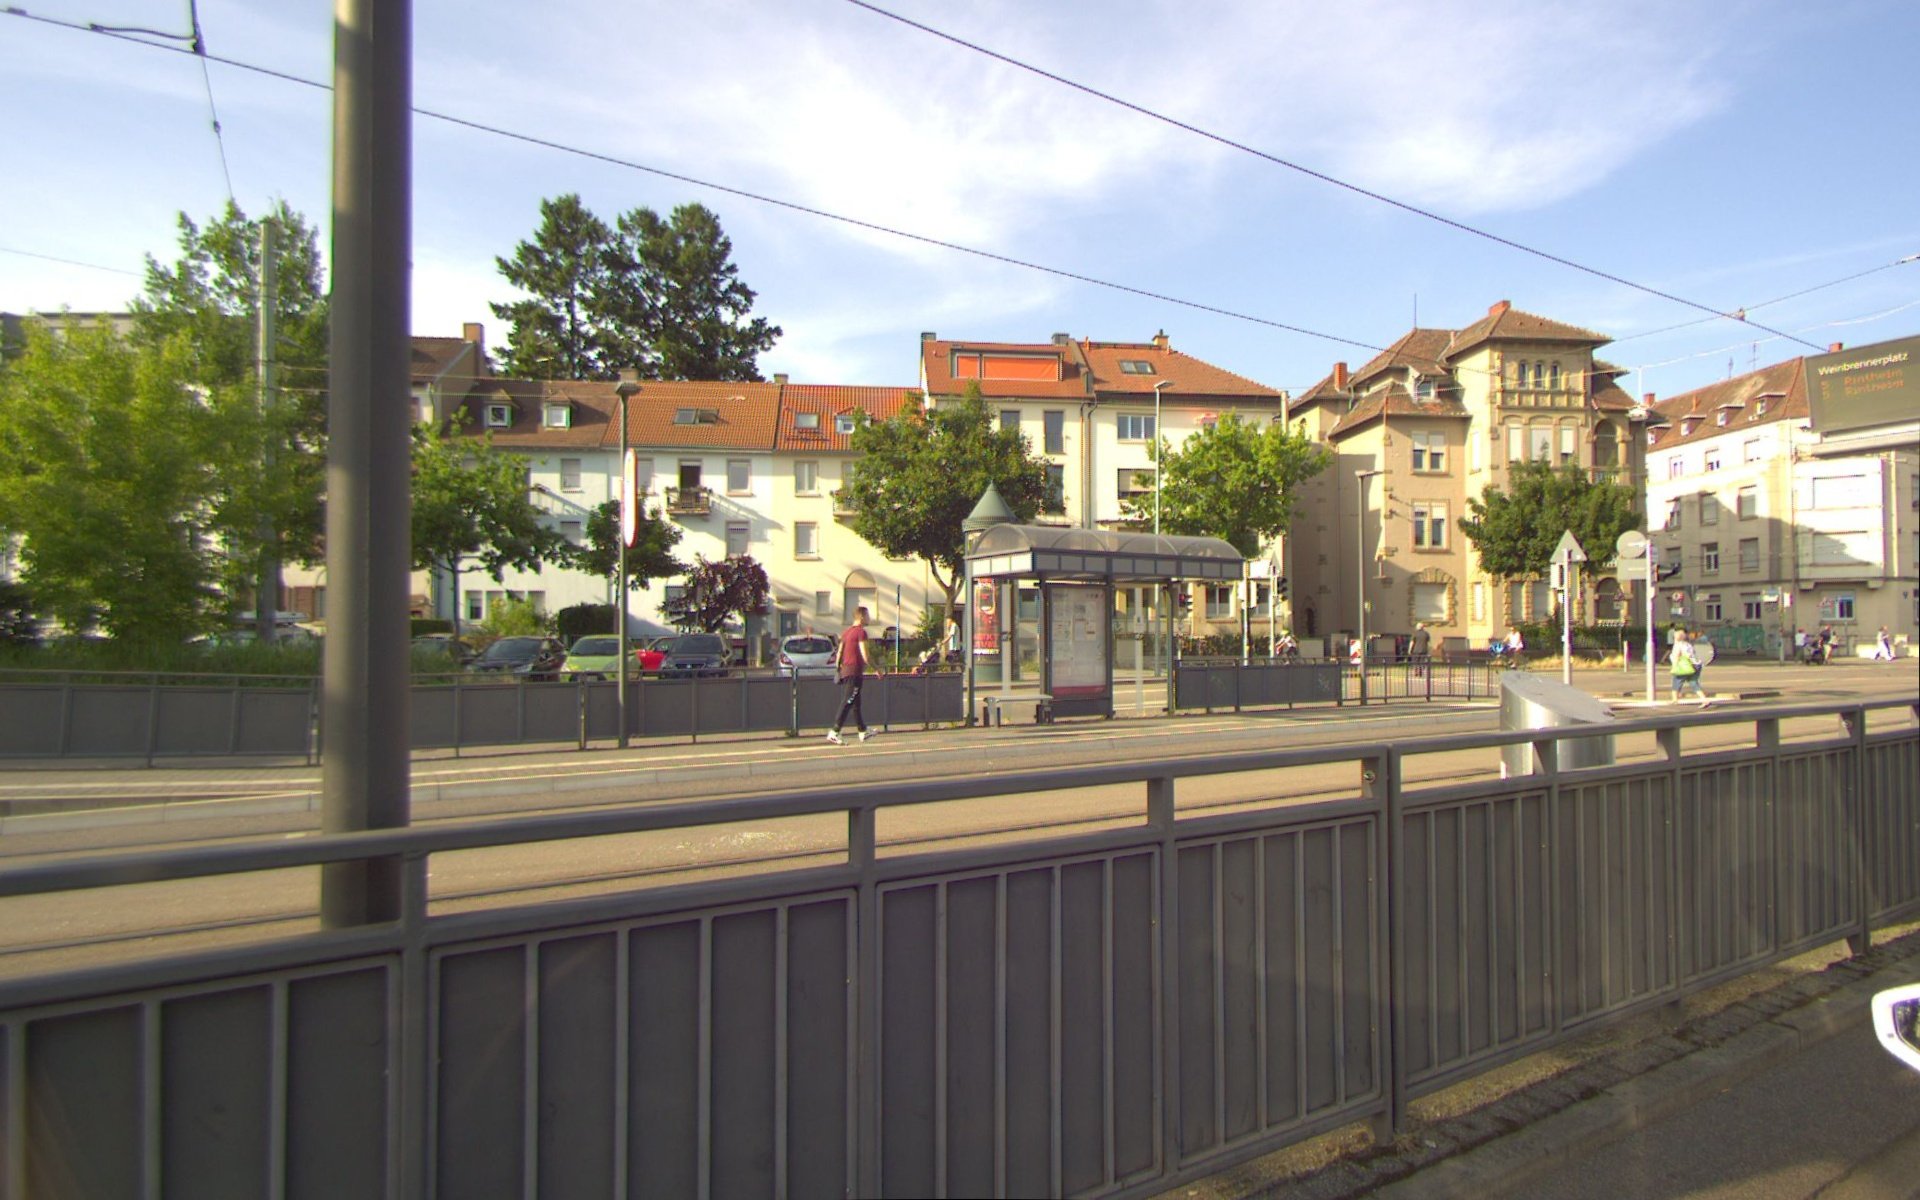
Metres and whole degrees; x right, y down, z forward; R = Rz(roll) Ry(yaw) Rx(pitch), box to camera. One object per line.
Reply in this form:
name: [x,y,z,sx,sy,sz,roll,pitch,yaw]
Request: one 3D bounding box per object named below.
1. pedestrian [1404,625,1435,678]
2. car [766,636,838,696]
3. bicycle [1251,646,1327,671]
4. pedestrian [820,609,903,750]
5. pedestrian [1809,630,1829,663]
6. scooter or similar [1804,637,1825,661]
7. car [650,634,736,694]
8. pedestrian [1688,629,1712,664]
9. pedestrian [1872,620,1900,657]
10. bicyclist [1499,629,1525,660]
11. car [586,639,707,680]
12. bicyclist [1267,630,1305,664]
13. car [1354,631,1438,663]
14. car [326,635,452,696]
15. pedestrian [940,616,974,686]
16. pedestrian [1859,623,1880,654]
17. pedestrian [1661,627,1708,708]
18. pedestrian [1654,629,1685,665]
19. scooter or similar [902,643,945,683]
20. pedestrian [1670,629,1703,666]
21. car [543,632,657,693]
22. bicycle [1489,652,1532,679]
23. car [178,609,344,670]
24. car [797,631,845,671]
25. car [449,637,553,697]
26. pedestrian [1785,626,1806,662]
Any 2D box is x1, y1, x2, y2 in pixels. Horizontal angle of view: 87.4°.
pedestrian: [14.671,1.633,32.100,0.778,1.667,0.757,-1,-2,16]
car: [-4.351,1.769,27.815,1.815,1.505,3.995,0,-2,-9]
bicycle: [12.724,2.245,38.823,2.954,0.926,0.783,1,-2,-22]
pedestrian: [-1.240,0.993,12.612,0.867,1.706,0.551,1,-5,-30]
pedestrian: [39.013,2.110,45.608,0.540,1.520,0.437,0,-2,-15]
scooter or similar: [39.398,2.256,46.317,0.675,1.093,0.541,2,0,-30]
car: [-7.168,1.686,27.277,1.815,1.505,3.995,0,-2,-9]
pedestrian: [33.774,2.110,45.837,0.702,1.561,0.626,1,-2,-30]
pedestrian: [50.532,2.093,54.827,0.773,2.040,0.775,0,-2,-15]
bicyclist: [18.583,1.492,33.810,0.672,1.058,0.510,1,-2,-33]
car: [-11.228,2.127,36.238,3.927,1.416,1.836,0,-2,-9]
bicyclist: [12.583,1.814,38.779,1.157,1.278,0.762,1,-2,-22]
car: [20.368,2.176,47.118,1.732,1.327,4.111,2,0,-7]
car: [-14.407,1.605,25.585,1.968,1.416,3.985,0,-2,-18]
pedestrian: [-0.077,1.315,25.948,0.750,1.769,0.547,0,-2,-15]
pedestrian: [49.675,2.126,54.870,0.576,1.682,0.620,0,-2,-14]
pedestrian: [14.888,1.370,20.642,0.627,1.620,0.608,1,-2,-36]
pedestrian: [31.597,2.094,44.746,0.768,1.572,0.831,0,-2,-8]
scooter or similar: [-0.934,1.599,25.705,1.006,1.001,0.556,0,-2,-15]
pedestrian: [31.677,2.056,43.791,0.768,1.572,0.831,0,-2,-8]
car: [-9.649,1.644,27.257,1.813,1.505,3.999,0,-2,-3]
bicycle: [18.493,2.184,33.739,1.668,0.845,0.523,1,-2,-33]
car: [-18.662,1.054,27.060,1.813,1.505,3.999,0,-2,-3]
car: [-6.060,2.202,44.198,1.962,1.684,3.997,0,-2,-6]
car: [-11.886,1.680,26.245,1.968,1.416,3.985,0,-2,-18]
pedestrian: [38.438,2.006,46.215,0.601,1.647,0.506,1,-2,-29]
